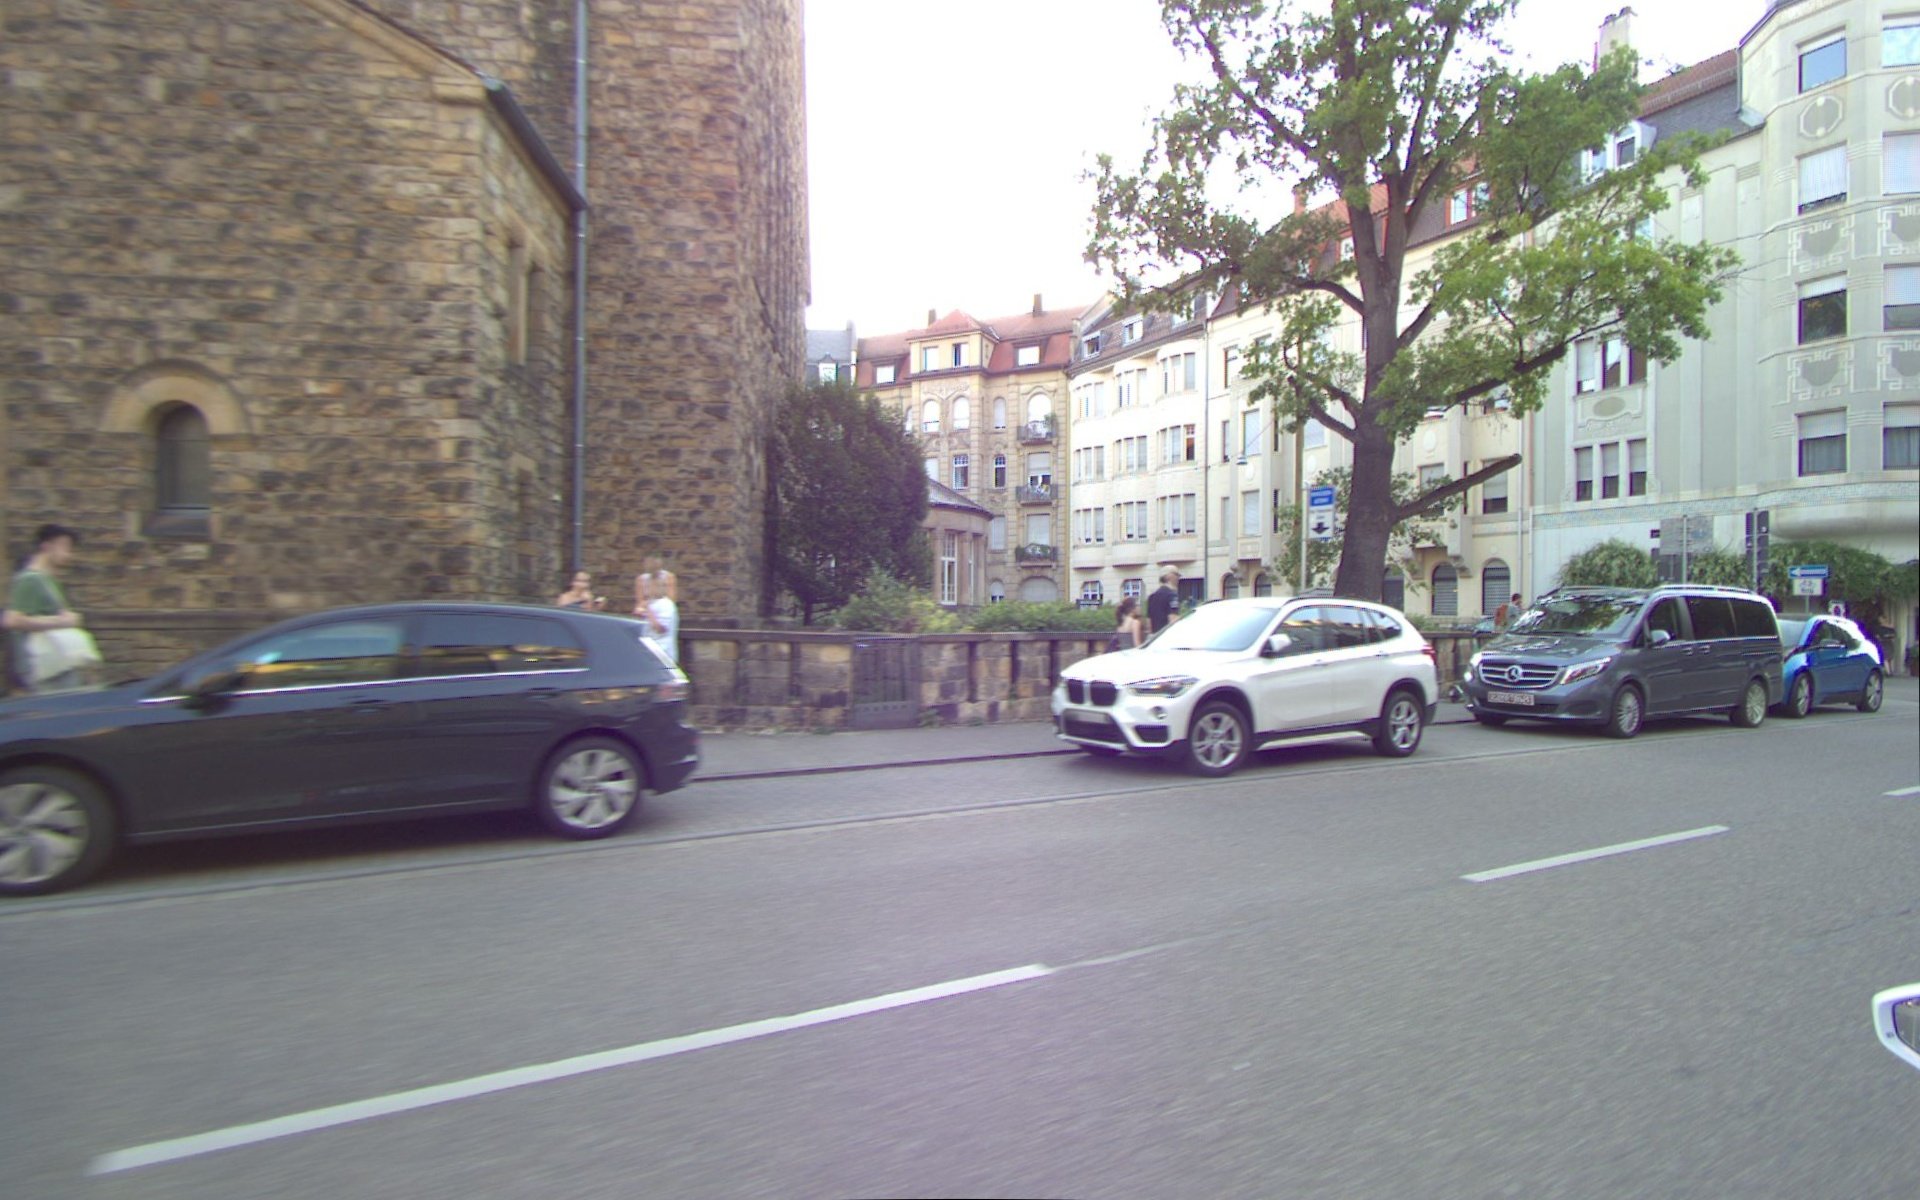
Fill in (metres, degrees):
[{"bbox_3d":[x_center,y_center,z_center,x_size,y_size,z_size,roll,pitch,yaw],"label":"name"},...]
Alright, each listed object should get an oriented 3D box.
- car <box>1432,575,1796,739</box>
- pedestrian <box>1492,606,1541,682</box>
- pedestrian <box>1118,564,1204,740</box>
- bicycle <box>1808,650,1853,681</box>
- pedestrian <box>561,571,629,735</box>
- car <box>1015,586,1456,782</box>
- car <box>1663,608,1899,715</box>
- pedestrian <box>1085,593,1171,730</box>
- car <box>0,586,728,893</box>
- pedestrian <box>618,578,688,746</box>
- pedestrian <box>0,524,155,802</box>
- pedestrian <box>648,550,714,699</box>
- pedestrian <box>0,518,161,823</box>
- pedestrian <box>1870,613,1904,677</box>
[{"bbox_3d":[9.016,0.702,13.726,5.225,1.891,1.985,1,-1,-29],"label":"car"},{"bbox_3d":[13.044,1.016,23.540,0.827,1.744,0.702,1,-1,-32],"label":"pedestrian"},{"bbox_3d":[2.297,0.581,11.470,0.794,1.930,0.578,1,-1,-33],"label":"pedestrian"},{"bbox_3d":[22.729,1.704,26.231,1.760,0.705,0.421,-1,0,-33],"label":"bicycle"},{"bbox_3d":[-3.897,0.555,10.737,0.407,1.697,0.548,1,0,20],"label":"pedestrian"},{"bbox_3d":[2.897,0.746,10.250,4.419,1.613,1.861,1,-1,-32],"label":"car"},{"bbox_3d":[13.516,0.945,16.502,3.954,1.576,1.634,1,-1,-28],"label":"car"},{"bbox_3d":[2.010,0.715,12.035,0.830,1.572,0.578,1,0,-33],"label":"pedestrian"},{"bbox_3d":[-3.778,0.698,6.217,4.263,1.454,1.775,1,-1,-29],"label":"car"},{"bbox_3d":[-3.105,0.608,10.180,0.407,1.643,0.548,1,0,20],"label":"pedestrian"},{"bbox_3d":[-6.429,0.430,7.177,0.978,1.881,0.569,1,-1,-34],"label":"pedestrian"},{"bbox_3d":[-3.028,0.261,10.937,0.574,1.566,0.652,1,0,-6],"label":"pedestrian"},{"bbox_3d":[-5.949,0.445,6.699,0.882,1.904,0.643,1,-1,-33],"label":"pedestrian"},{"bbox_3d":[25.227,1.214,27.332,0.610,1.697,0.563,1,-1,-35],"label":"pedestrian"}]
